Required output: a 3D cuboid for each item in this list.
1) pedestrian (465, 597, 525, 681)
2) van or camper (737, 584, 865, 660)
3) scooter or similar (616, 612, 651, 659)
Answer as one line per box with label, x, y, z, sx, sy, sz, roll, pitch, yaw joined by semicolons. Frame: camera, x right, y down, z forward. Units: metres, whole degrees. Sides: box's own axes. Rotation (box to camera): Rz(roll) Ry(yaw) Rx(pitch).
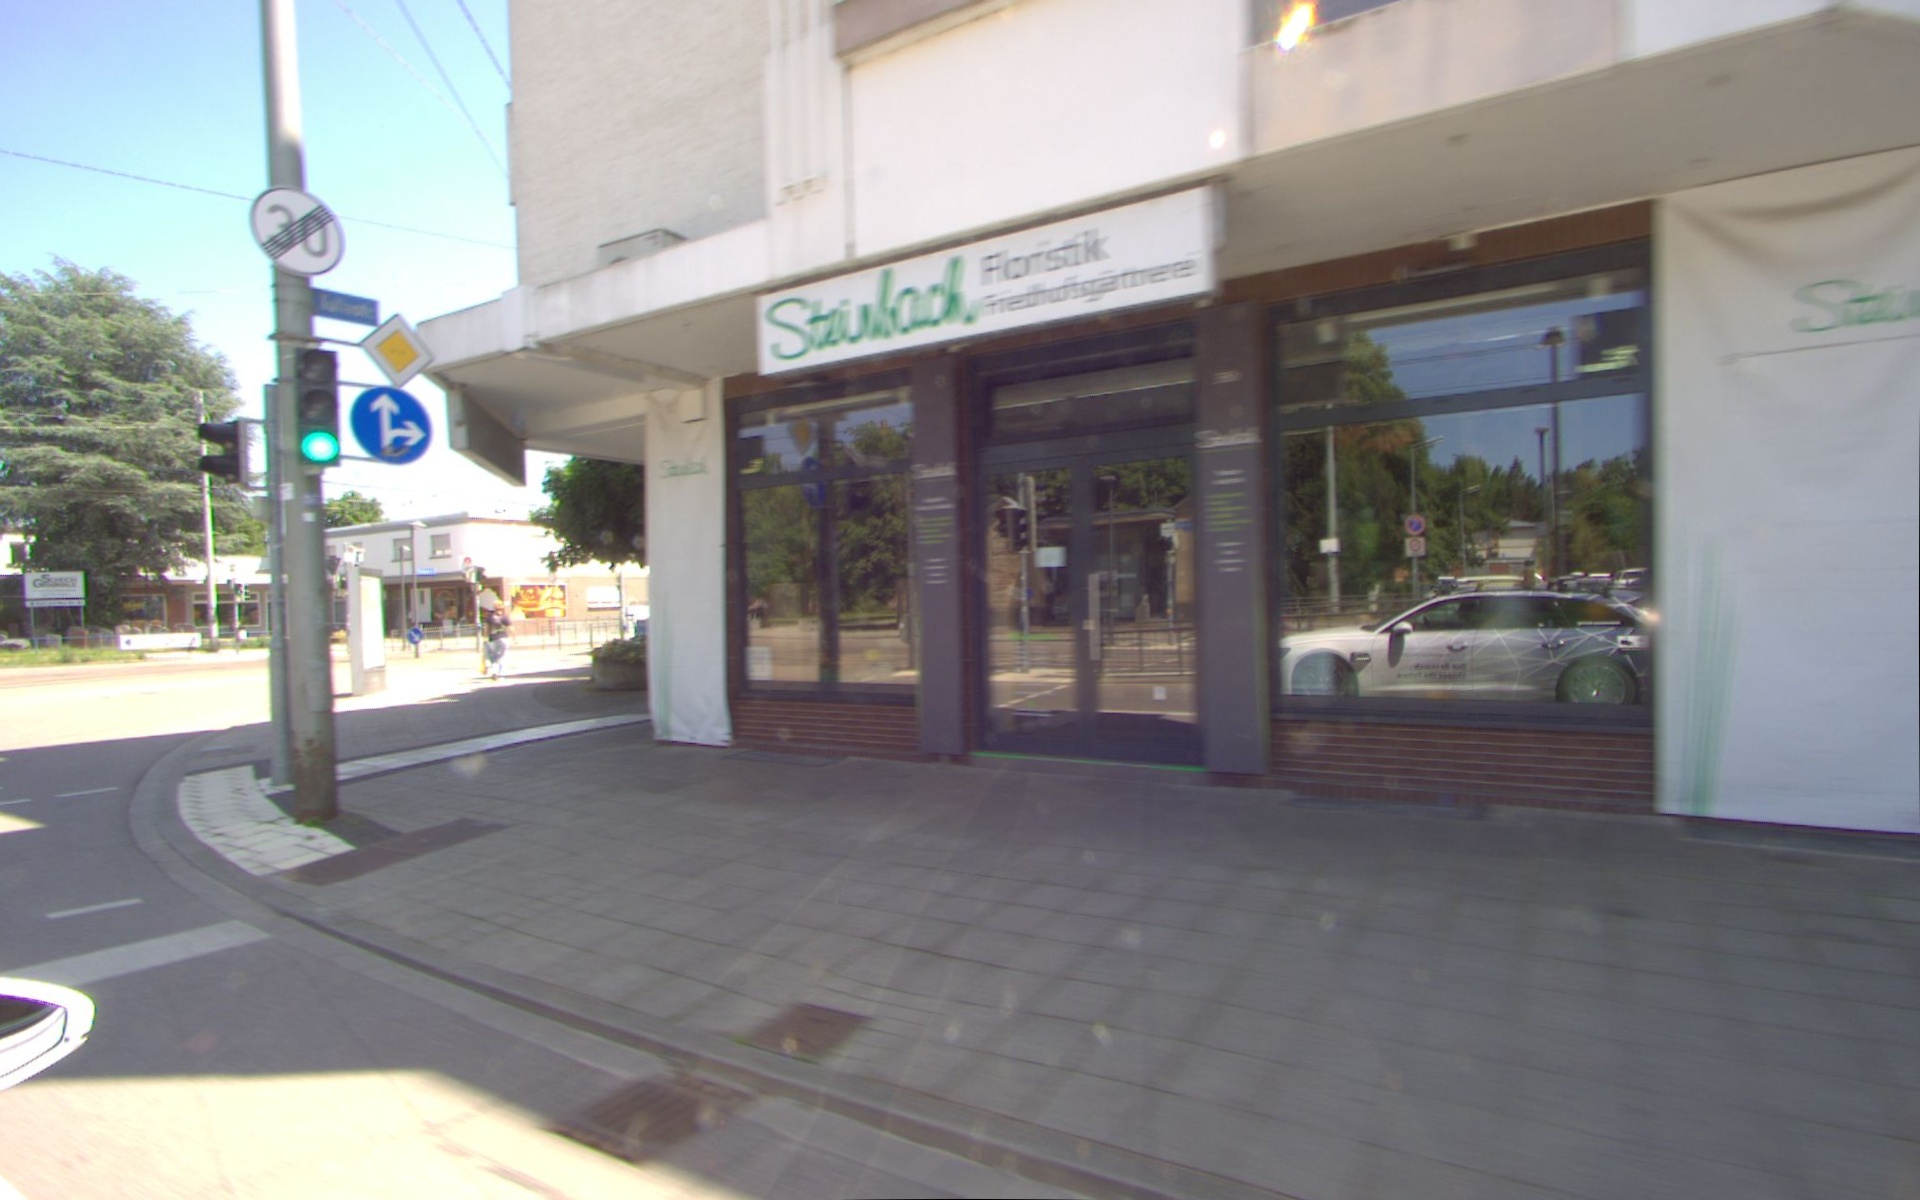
pedestrian;-9.400;0.770;20.236;0.819;1.605;0.819;-5;4;-38
van or camper;-6.210;0.823;39.782;2.176;2.802;5.214;0;0;31
scooter or similar;-8.666;0.928;26.642;0.387;1.229;1.255;-1;0;6
